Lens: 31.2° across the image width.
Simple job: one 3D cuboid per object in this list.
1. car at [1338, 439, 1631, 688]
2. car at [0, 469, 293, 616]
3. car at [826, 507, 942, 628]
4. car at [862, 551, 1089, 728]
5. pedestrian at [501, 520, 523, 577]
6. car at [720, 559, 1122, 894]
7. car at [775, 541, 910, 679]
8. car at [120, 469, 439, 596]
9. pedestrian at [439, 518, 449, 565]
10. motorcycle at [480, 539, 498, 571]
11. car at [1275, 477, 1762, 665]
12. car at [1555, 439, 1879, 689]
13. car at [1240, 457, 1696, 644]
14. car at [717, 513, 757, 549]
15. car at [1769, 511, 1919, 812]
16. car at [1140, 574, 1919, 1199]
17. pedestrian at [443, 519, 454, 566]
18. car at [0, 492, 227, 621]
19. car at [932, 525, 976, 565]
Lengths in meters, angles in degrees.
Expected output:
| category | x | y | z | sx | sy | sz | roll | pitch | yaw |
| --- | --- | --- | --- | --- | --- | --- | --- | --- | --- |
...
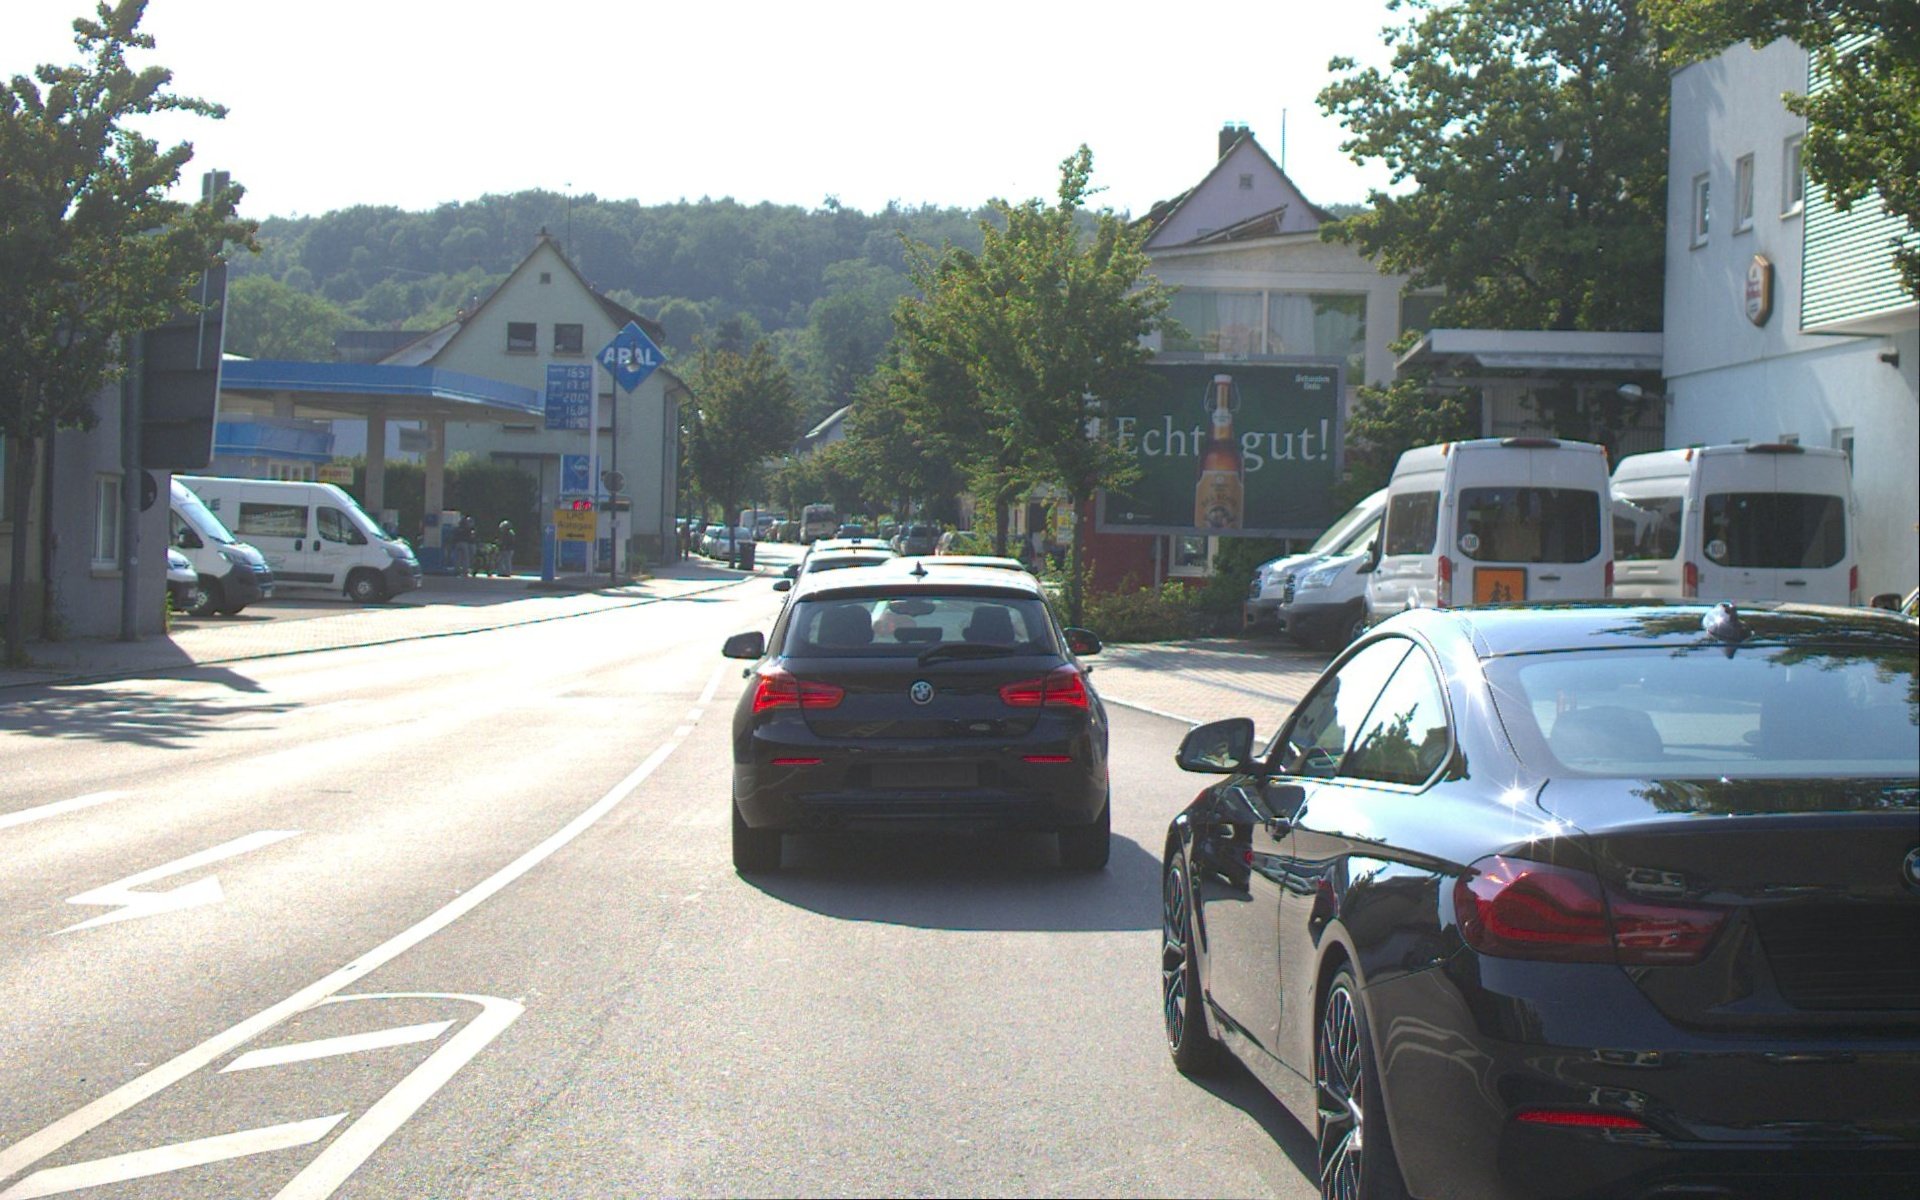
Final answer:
| category | x | y | z | sx | sy | sz | roll | pitch | yaw |
| --- | --- | --- | --- | --- | --- | --- | --- | --- | --- |
| car | 6.062 | -0.486 | 40.653 | 2.149 | 2.671 | 6.604 | 1 | 2 | -2 |
| car | -15.266 | -1.071 | 62.036 | 5.920 | 2.471 | 2.193 | 2 | 2 | 4 |
| car | -1.132 | -0.531 | 52.502 | 1.603 | 1.761 | 3.411 | 1 | 2 | 1 |
| car | 0.081 | 0.304 | 30.277 | 1.753 | 1.409 | 3.422 | 1 | 2 | -4 |
| pedestrian | -13.395 | -1.542 | 102.777 | 0.610 | 1.664 | 0.442 | 1 | 1 | -4 |
| car | -0.168 | 0.541 | 17.028 | 1.771 | 1.451 | 3.516 | 1 | 1 | 0 |
| car | -1.481 | 0.087 | 42.931 | 1.591 | 1.594 | 3.894 | 1 | 2 | -2 |
| car | -14.162 | -1.419 | 71.799 | 6.158 | 2.436 | 2.250 | 2 | 1 | 0 |
| pedestrian | -15.269 | -1.723 | 101.669 | 0.262 | 1.378 | 0.288 | 1 | 1 | -6 |
| motorcycle | -14.035 | -1.341 | 102.432 | 0.363 | 0.940 | 1.696 | 1 | 2 | -2 |
| car | 7.347 | -0.401 | 45.621 | 6.043 | 2.355 | 2.044 | 1 | 1 | -3 |
| car | 8.840 | -0.477 | 40.836 | 2.111 | 2.712 | 6.444 | 1 | 2 | -3 |
| car | 7.116 | -0.713 | 48.544 | 6.043 | 2.507 | 2.044 | 1 | 1 | -3 |
| car | -9.706 | -3.032 | 150.069 | 1.597 | 1.480 | 3.475 | 2 | 1 | -2 |
| car | 6.179 | 0.349 | 18.825 | 1.834 | 1.643 | 4.540 | 1 | 1 | -8 |
| car | 1.514 | 0.668 | 8.204 | 1.699 | 1.364 | 4.263 | 0 | 2 | -3 |
| pedestrian | -15.045 | -1.696 | 101.177 | 0.287 | 1.362 | 0.263 | 1 | 1 | -5 |
| car | -14.778 | -0.754 | 56.471 | 4.976 | 1.992 | 1.935 | 2 | 1 | 2 |
| car | -0.260 | -2.209 | 137.225 | 1.597 | 1.480 | 3.475 | 2 | 1 | -2 |
